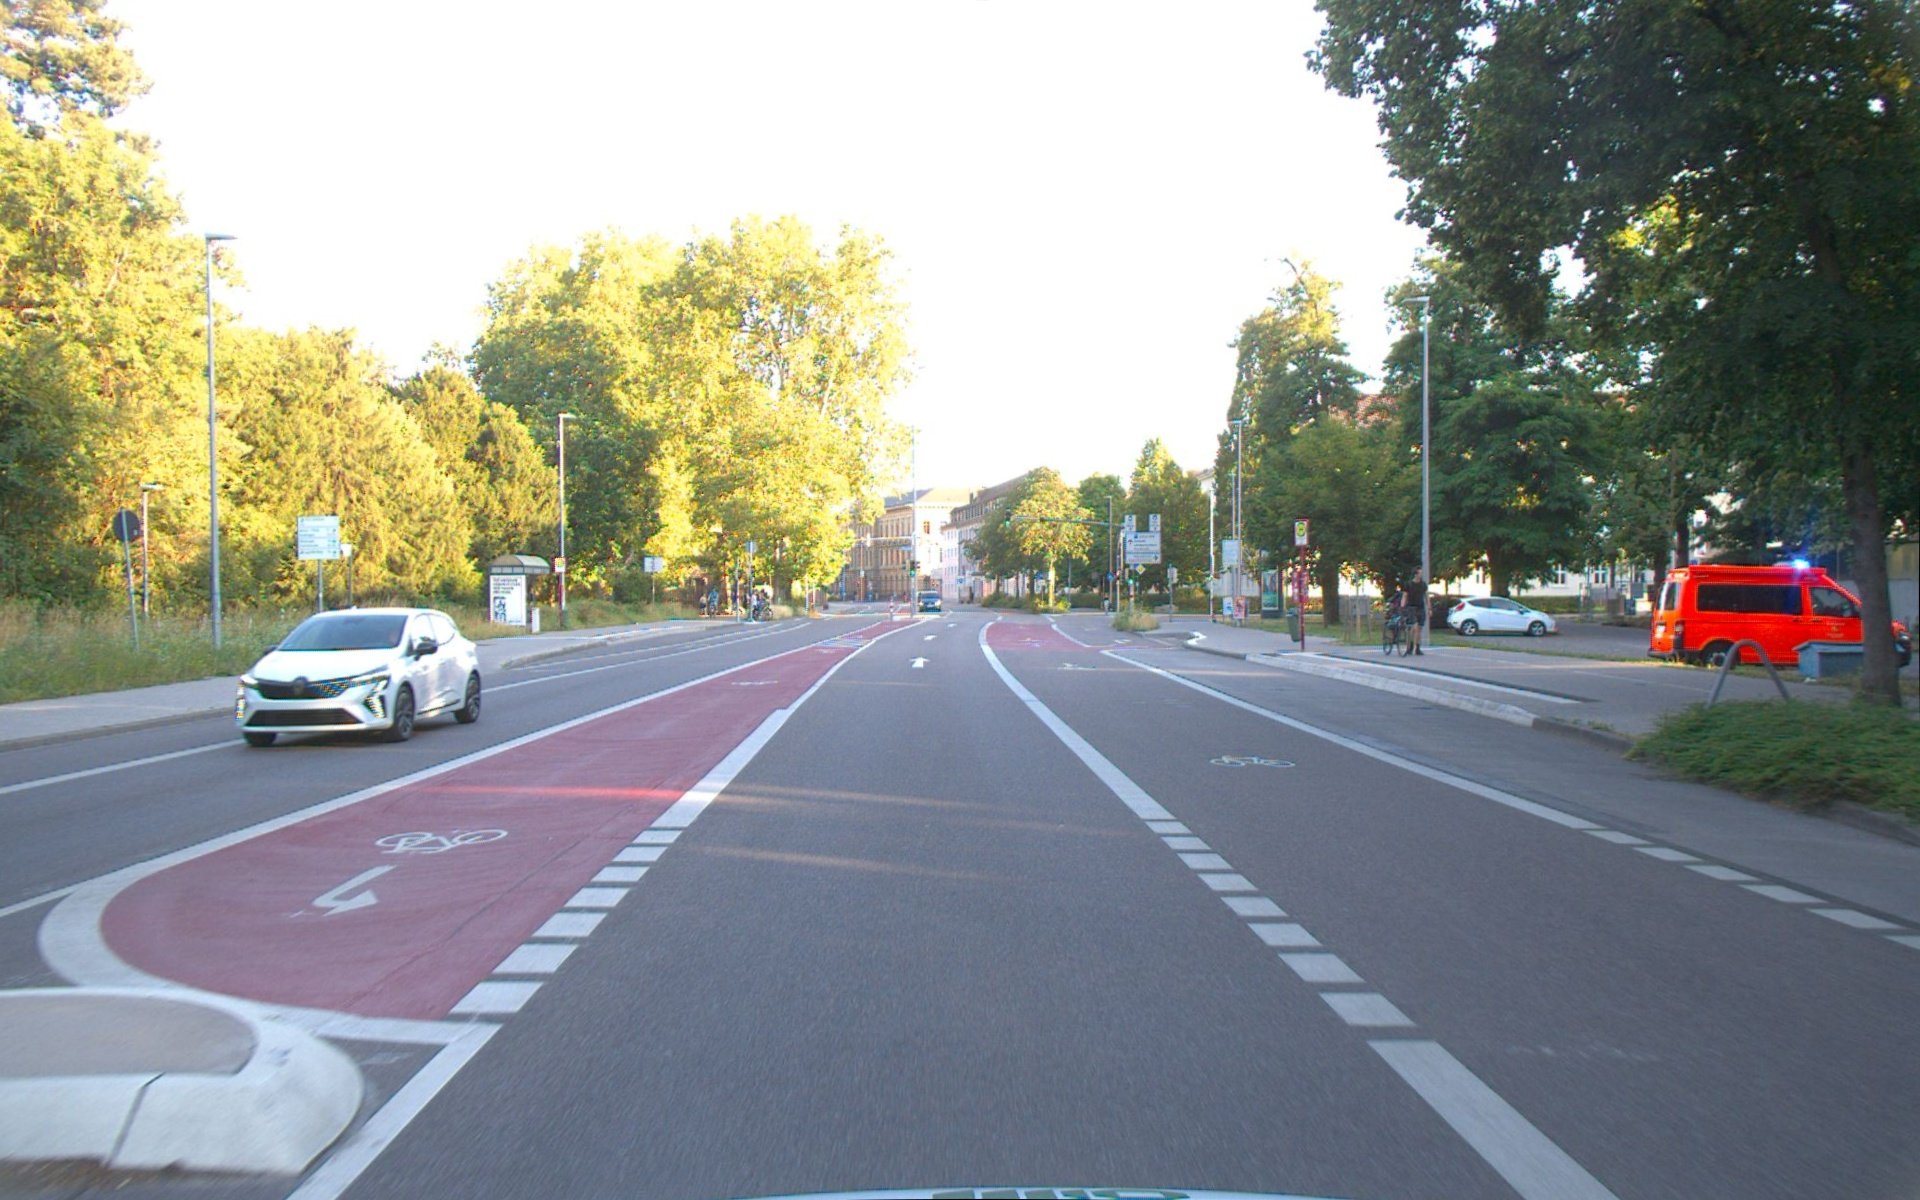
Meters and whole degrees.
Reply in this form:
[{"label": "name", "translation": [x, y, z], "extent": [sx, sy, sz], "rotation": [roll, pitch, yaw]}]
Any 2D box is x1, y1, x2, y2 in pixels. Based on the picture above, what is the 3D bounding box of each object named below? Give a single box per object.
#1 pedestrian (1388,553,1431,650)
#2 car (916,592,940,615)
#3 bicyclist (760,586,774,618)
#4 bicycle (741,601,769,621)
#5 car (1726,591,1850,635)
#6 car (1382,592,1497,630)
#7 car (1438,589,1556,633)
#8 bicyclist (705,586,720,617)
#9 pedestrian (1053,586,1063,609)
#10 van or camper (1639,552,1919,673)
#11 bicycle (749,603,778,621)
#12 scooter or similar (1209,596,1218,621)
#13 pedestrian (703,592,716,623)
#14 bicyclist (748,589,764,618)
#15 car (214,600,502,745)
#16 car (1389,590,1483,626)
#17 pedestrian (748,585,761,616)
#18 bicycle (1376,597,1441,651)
[{"label": "pedestrian", "translation": [9.628, 0.038, 35.419], "extent": [0.708, 2.049, 0.695], "rotation": [1, 0, -1]}, {"label": "car", "translation": [-2.558, 0.249, 133.369], "extent": [1.812, 1.750, 4.295], "rotation": [-2, 0, 0]}, {"label": "bicyclist", "translation": [-11.166, 0.113, 95.710], "extent": [0.626, 1.811, 0.574], "rotation": [0, 0, 33]}, {"label": "bicycle", "translation": [-11.695, 0.605, 94.276], "extent": [1.535, 1.131, 0.631], "rotation": [0, 0, 33]}, {"label": "car", "translation": [31.463, 0.495, 62.935], "extent": [3.903, 1.578, 1.959], "rotation": [1, 0, 16]}, {"label": "car", "translation": [20.773, 0.493, 71.761], "extent": [4.473, 1.474, 1.901], "rotation": [-2, -2, 4]}, {"label": "car", "translation": [20.174, 0.391, 62.296], "extent": [3.902, 1.564, 1.913], "rotation": [1, 0, 5]}, {"label": "bicyclist", "translation": [-14.730, 0.099, 98.351], "extent": [0.719, 1.856, 0.712], "rotation": [-1, -1, 3]}, {"label": "pedestrian", "translation": [8.627, -0.231, 145.356], "extent": [0.852, 2.049, 0.722], "rotation": [1, 0, 2]}, {"label": "van or camper", "translation": [16.516, 0.232, 33.490], "extent": [4.710, 2.284, 2.297], "rotation": [1, 0, 10]}, {"label": "bicycle", "translation": [-11.376, 0.710, 95.862], "extent": [1.735, 1.048, 0.578], "rotation": [0, 0, 33]}, {"label": "scooter or similar", "translation": [12.809, 0.431, 83.633], "extent": [0.304, 1.252, 1.311], "rotation": [0, 0, 2]}, {"label": "pedestrian", "translation": [-16.676, 0.485, 110.133], "extent": [0.644, 2.049, 0.598], "rotation": [1, 0, -37]}, {"label": "bicyclist", "translation": [-11.639, 0.193, 94.247], "extent": [0.626, 1.678, 0.629], "rotation": [0, 0, 32]}, {"label": "car", "translation": [-6.779, 0.750, 19.133], "extent": [1.809, 1.439, 4.180], "rotation": [-1, 0, -1]}, {"label": "car", "translation": [21.528, 0.343, 74.952], "extent": [3.902, 1.588, 1.787], "rotation": [0, 0, 8]}, {"label": "pedestrian", "translation": [-11.411, 0.048, 91.843], "extent": [0.594, 1.725, 0.498], "rotation": [0, 0, 3]}, {"label": "bicycle", "translation": [9.638, 0.498, 35.624], "extent": [0.813, 1.116, 1.968], "rotation": [-2, 0, -1]}]
